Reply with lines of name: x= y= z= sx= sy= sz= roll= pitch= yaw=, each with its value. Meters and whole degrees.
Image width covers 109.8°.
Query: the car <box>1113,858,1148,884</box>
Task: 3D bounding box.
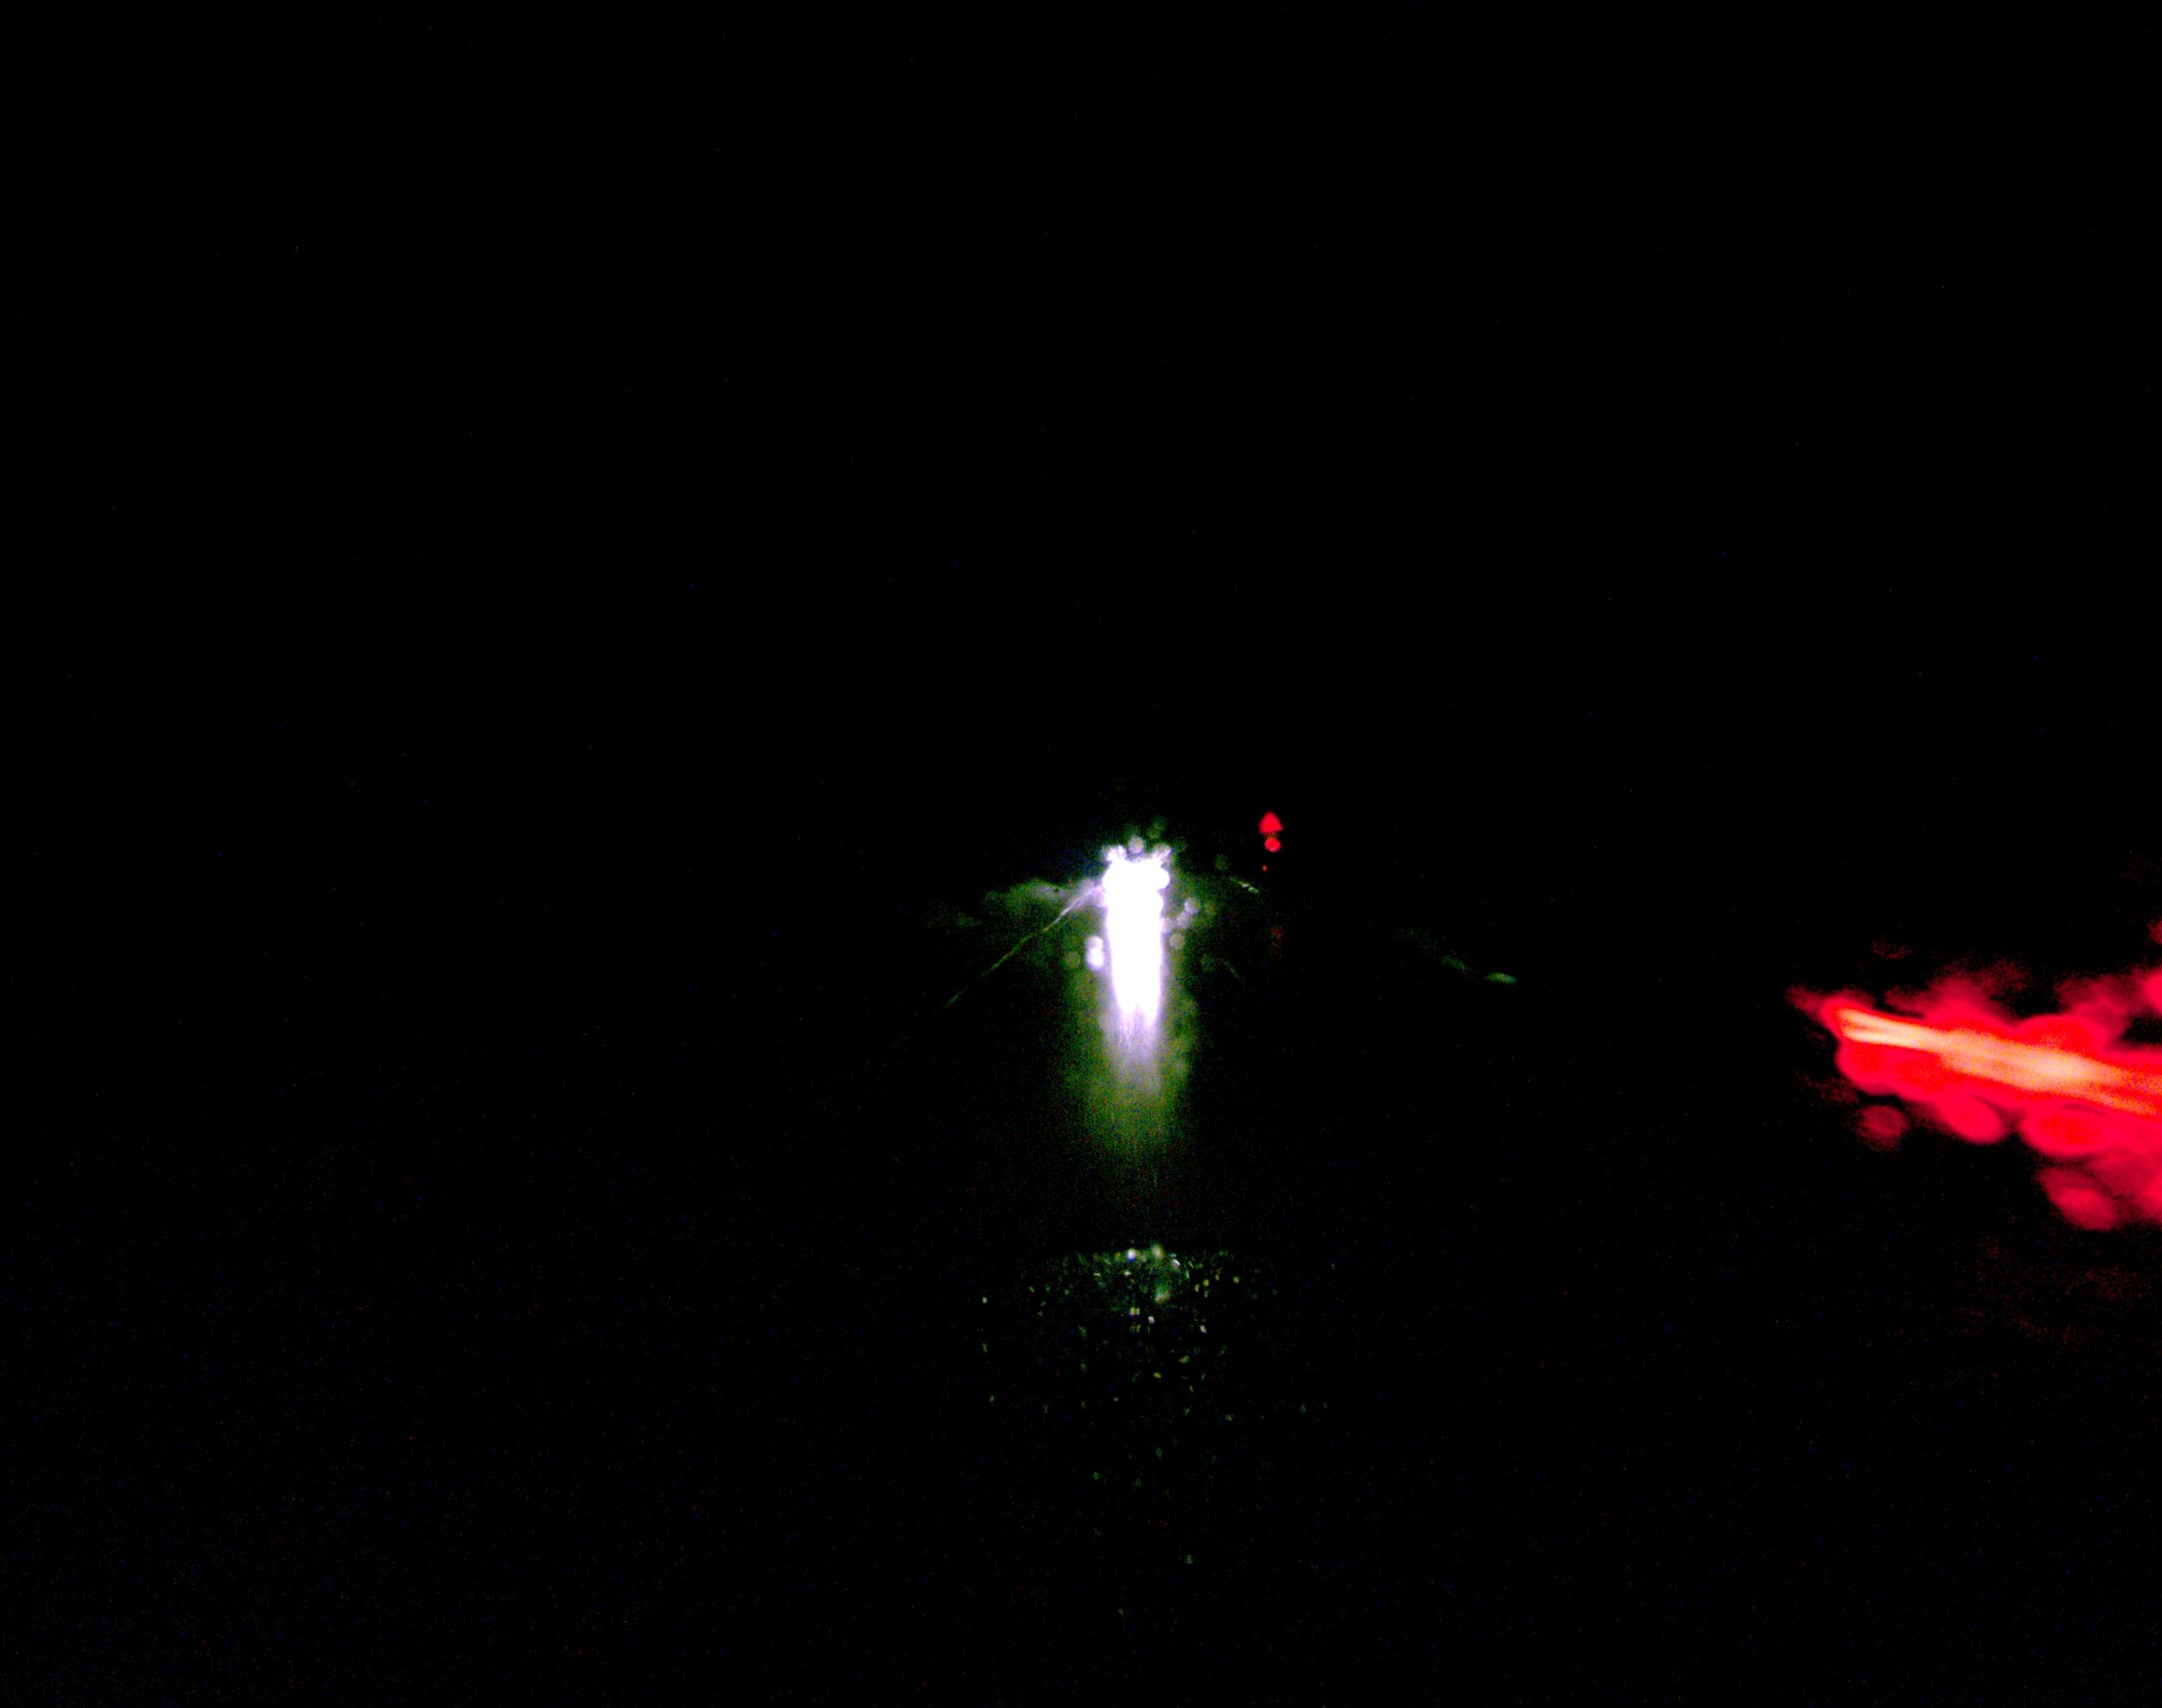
car: x=3.134 y=1.028 z=47.504 sx=1.998 sy=1.412 sz=4.001 roll=-4 pitch=0 yaw=5

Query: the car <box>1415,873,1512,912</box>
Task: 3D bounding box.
car: x=19.151 y=1.911 z=38.235 sx=1.978 sy=1.819 sz=3.995 roll=0 pitch=-3 yaw=-21

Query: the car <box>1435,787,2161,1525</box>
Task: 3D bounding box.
car: x=3.562 y=0.668 z=3.434 sx=1.982 sy=1.768 sz=4.000 roll=-4 pitch=0 yaw=0
